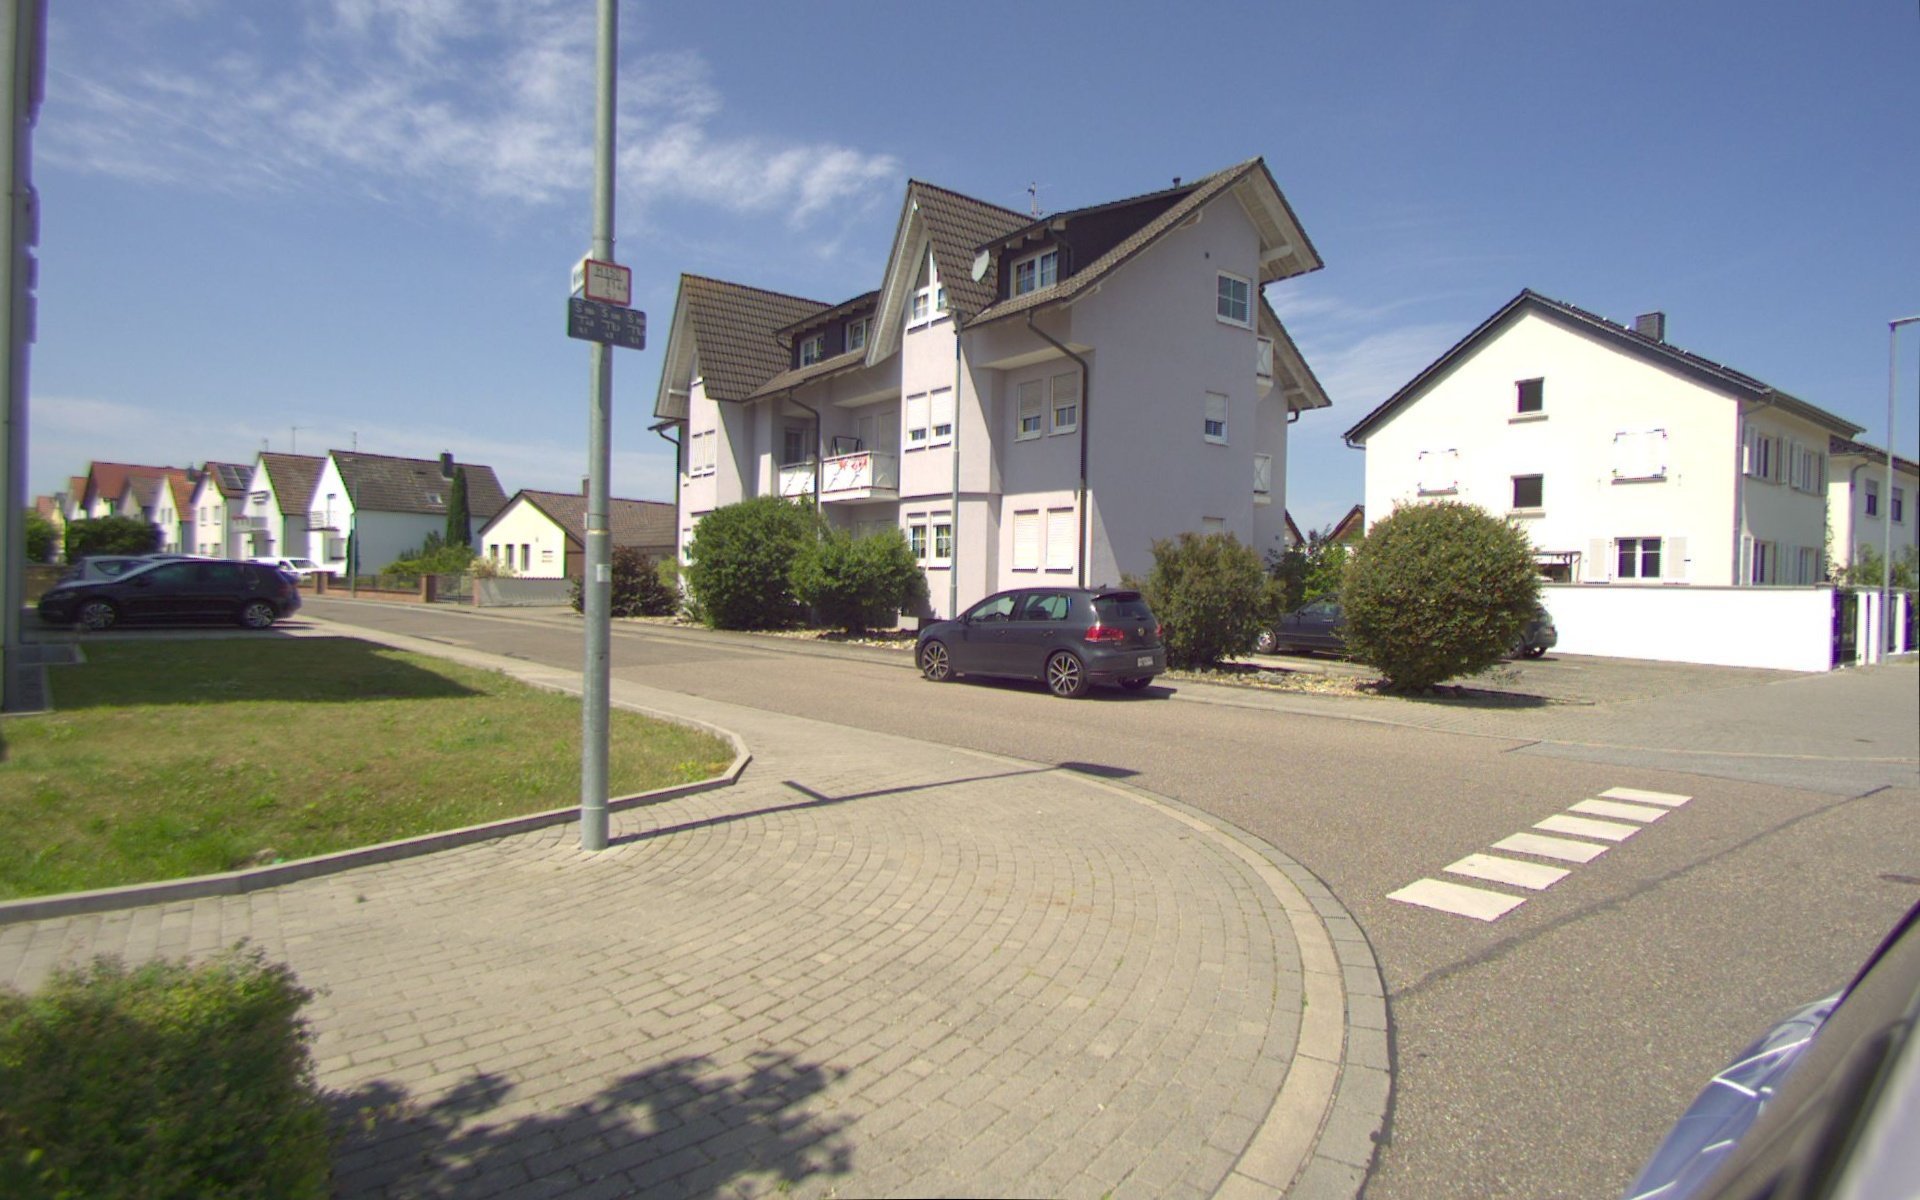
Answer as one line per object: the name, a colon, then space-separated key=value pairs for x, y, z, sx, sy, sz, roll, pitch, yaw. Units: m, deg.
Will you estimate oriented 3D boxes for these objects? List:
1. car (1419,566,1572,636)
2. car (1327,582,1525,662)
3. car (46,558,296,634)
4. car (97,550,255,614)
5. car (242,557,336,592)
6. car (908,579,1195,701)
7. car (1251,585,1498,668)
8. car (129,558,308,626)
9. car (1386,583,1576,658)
car: x=15.061 y=-0.008 z=28.571 sx=1.739 sy=1.835 sz=3.395 roll=1 pitch=1 yaw=-38
car: x=9.799 y=0.409 z=21.447 sx=1.635 sy=1.513 sz=3.452 roll=1 pitch=1 yaw=-40
car: x=-16.243 y=-0.100 z=20.954 sx=3.940 sy=1.430 sz=1.752 roll=0 pitch=1 yaw=-44
car: x=-20.927 y=-0.471 z=27.072 sx=1.458 sy=1.596 sz=3.165 roll=2 pitch=1 yaw=44
car: x=-38.014 y=-1.464 z=57.364 sx=4.390 sy=1.900 sz=1.992 roll=1 pitch=1 yaw=14
car: x=1.219 y=0.469 z=14.726 sx=1.727 sy=1.486 sz=3.994 roll=0 pitch=1 yaw=-44
car: x=8.018 y=0.444 z=19.890 sx=1.635 sy=1.391 sz=4.210 roll=1 pitch=1 yaw=-40
car: x=-17.121 y=-0.191 z=23.444 sx=1.458 sy=1.459 sz=3.165 roll=2 pitch=1 yaw=44
car: x=11.785 y=0.416 z=23.032 sx=1.636 sy=1.515 sz=3.504 roll=1 pitch=1 yaw=-43
